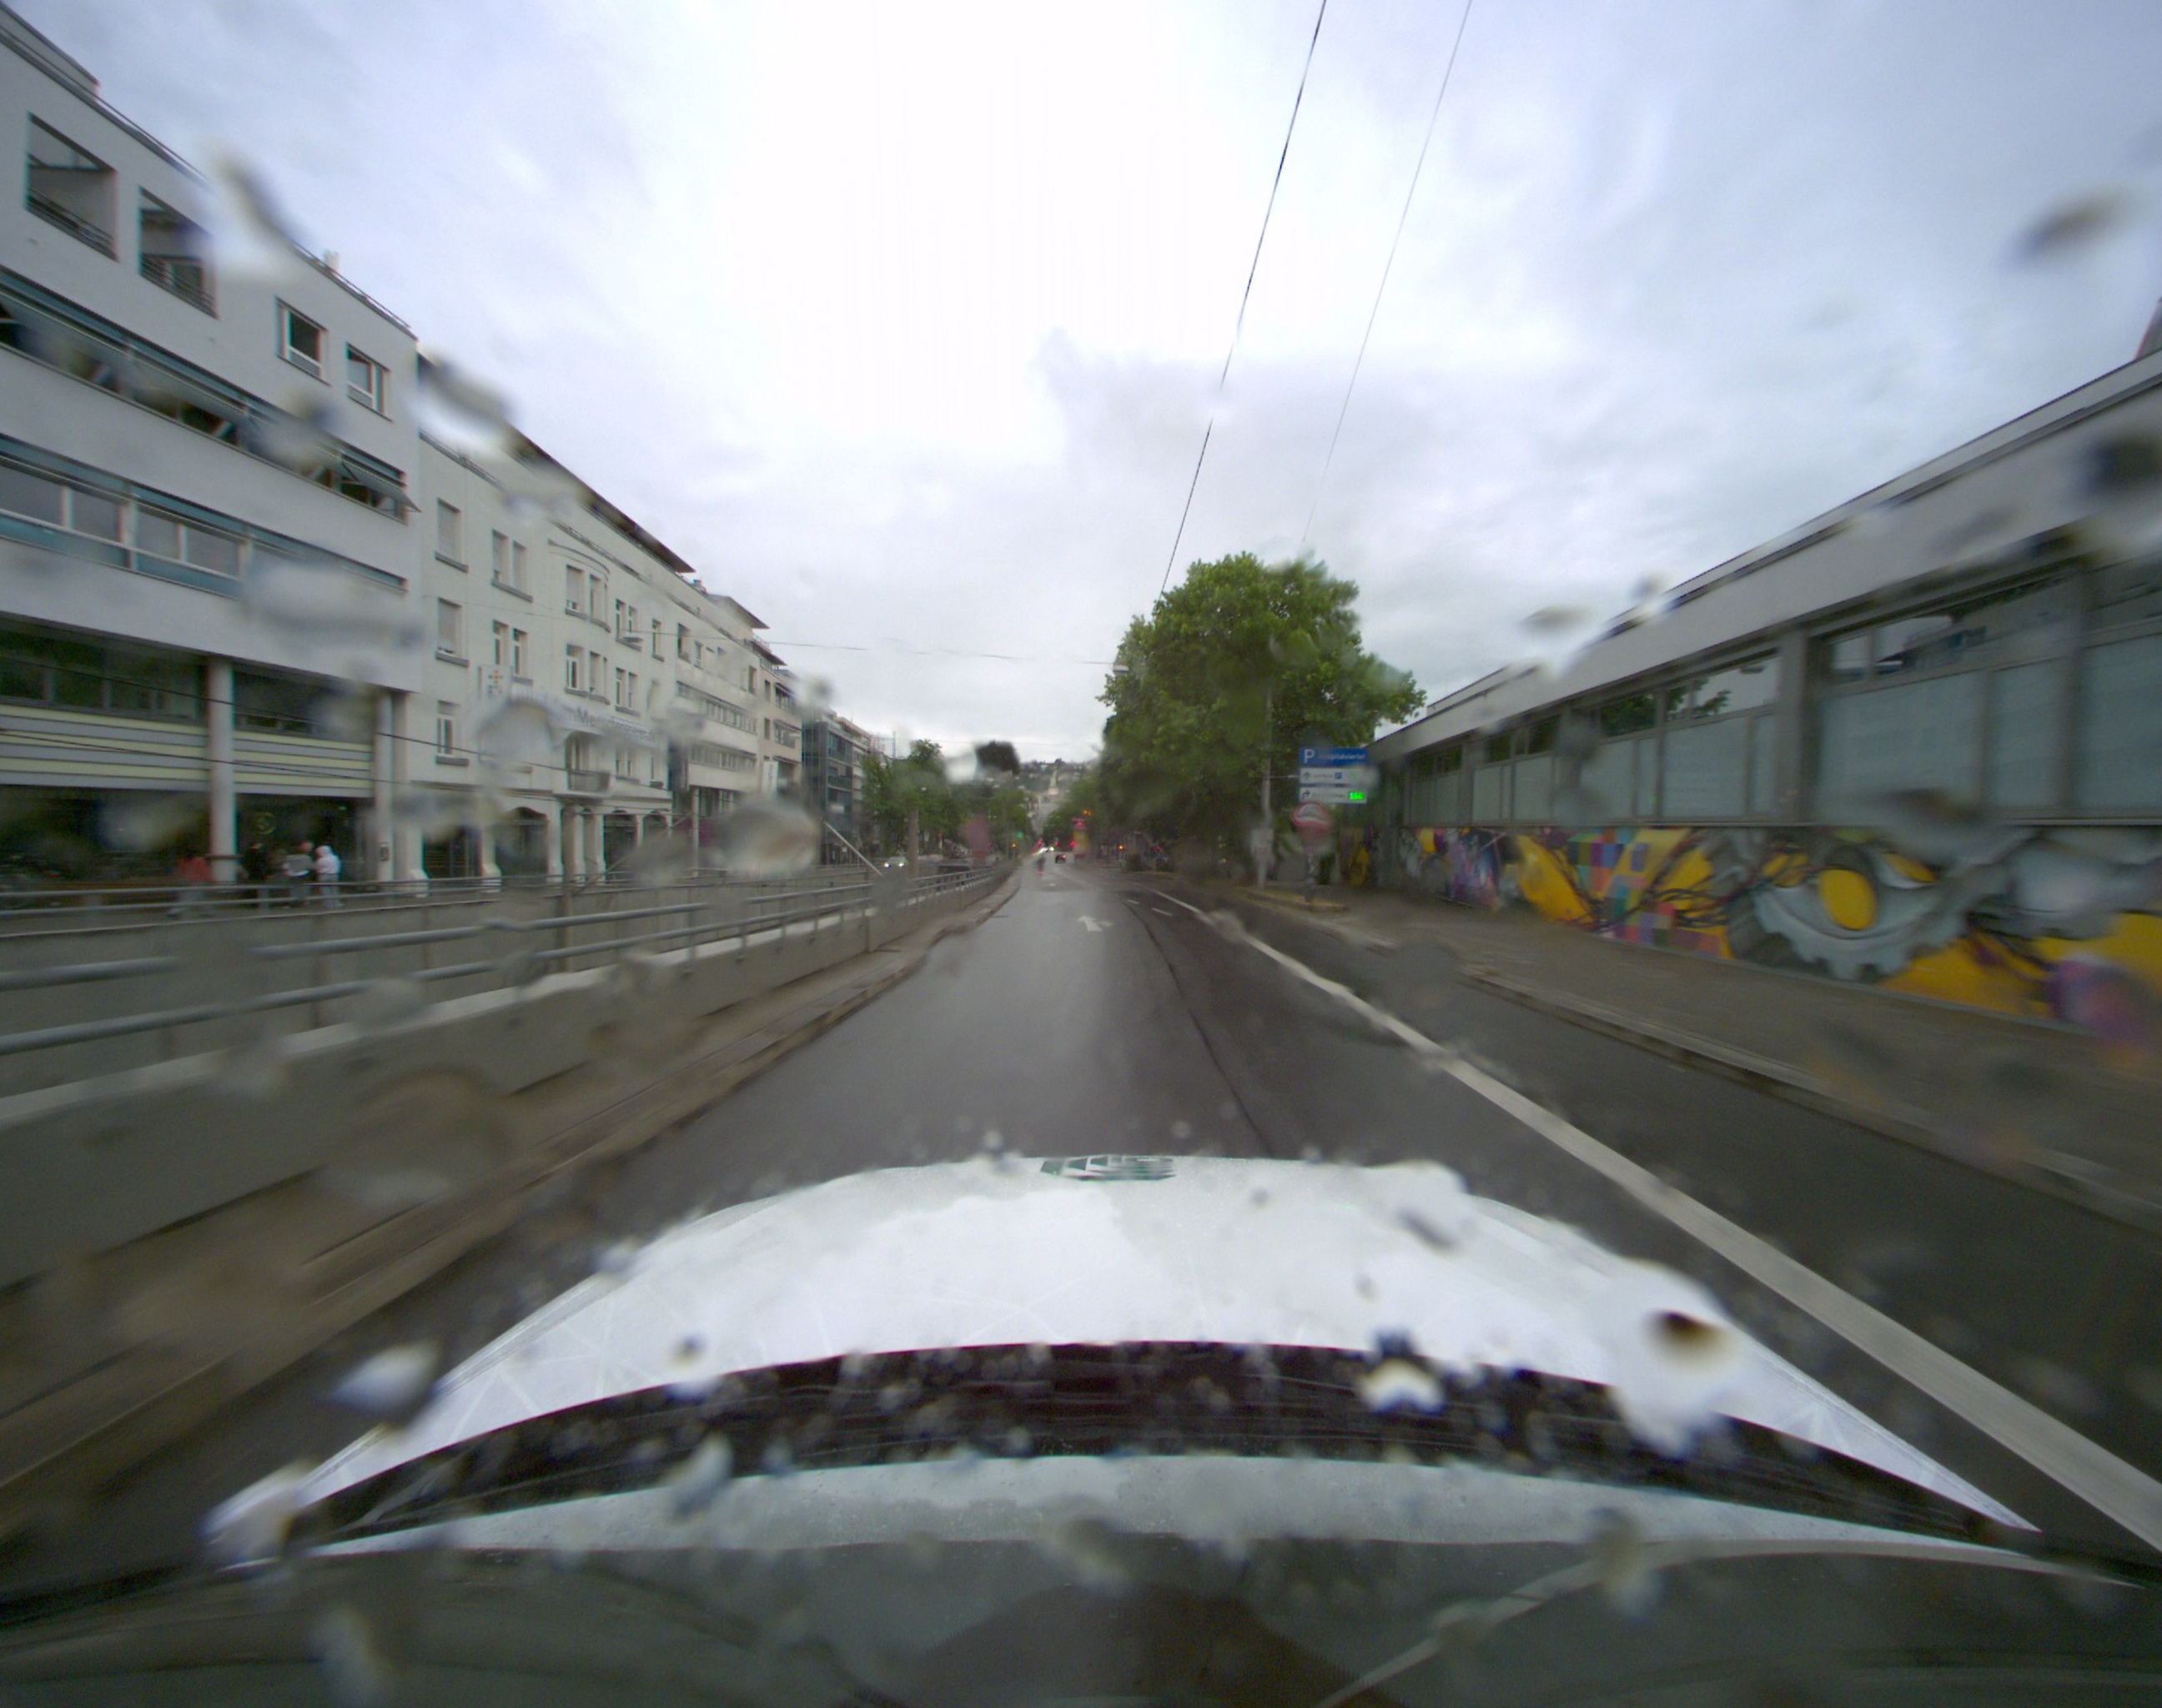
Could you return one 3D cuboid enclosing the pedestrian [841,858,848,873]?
[{"bbox_3d":[-27.418,1.354,94.473,0.663,1.671,0.487,0,0,-5],"label":"pedestrian"}]

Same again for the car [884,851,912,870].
[{"bbox_3d":[-17.654,0.601,78.896,1.832,1.713,4.573,0,0,-2],"label":"car"}]

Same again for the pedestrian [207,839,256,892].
[{"bbox_3d":[-23.360,0.314,22.408,0.605,1.419,0.674,1,0,0],"label":"pedestrian"}]

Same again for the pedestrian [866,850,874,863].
[{"bbox_3d":[-29.475,0.363,113.944,0.876,1.868,0.865,2,0,-7],"label":"pedestrian"}]

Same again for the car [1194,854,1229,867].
[{"bbox_3d":[17.194,0.896,107.413,4.369,1.684,1.735,1,0,-29],"label":"car"}]

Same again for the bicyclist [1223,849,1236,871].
[{"bbox_3d":[10.938,0.435,59.918,0.803,1.628,1.047,0,-1,3],"label":"bicyclist"}]

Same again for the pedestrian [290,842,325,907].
[{"bbox_3d":[-21.207,0.547,22.331,0.677,1.722,0.602,1,0,-44],"label":"pedestrian"}]

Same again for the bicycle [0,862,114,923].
[{"bbox_3d":[-22.521,0.793,15.936,1.687,1.043,4.522,5,0,0],"label":"bicycle"}]

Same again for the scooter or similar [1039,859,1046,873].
[{"bbox_3d":[-4.007,1.274,84.437,0.545,1.418,1.951,1,0,-5],"label":"scooter or similar"}]

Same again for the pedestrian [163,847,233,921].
[{"bbox_3d":[-19.766,0.650,18.252,0.673,1.616,0.936,1,0,-19],"label":"pedestrian"}]

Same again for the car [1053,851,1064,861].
[{"bbox_3d":[-3.769,0.329,136.058,1.743,1.519,4.100,1,0,-4],"label":"car"}]

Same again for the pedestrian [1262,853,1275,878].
[{"bbox_3d":[14.032,0.850,60.936,0.803,1.864,1.057,-1,0,5],"label":"pedestrian"}]

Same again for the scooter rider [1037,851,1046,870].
[{"bbox_3d":[-4.106,0.714,84.300,0.807,1.948,0.821,1,0,-4],"label":"scooter rider"}]

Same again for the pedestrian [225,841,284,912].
[{"bbox_3d":[-21.098,0.558,20.807,0.673,1.785,0.936,1,0,-19],"label":"pedestrian"}]

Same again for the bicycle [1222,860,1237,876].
[{"bbox_3d":[10.931,1.022,60.006,0.803,1.112,2.200,0,0,3],"label":"bicycle"}]

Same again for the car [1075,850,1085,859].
[{"bbox_3d":[-0.166,0.130,160.531,1.895,1.684,3.910,1,0,0],"label":"car"}]

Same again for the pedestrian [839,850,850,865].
[{"bbox_3d":[-28.797,0.447,99.067,0.858,1.868,0.963,1,0,14],"label":"pedestrian"}]

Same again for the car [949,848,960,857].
[{"bbox_3d":[-24.560,-0.245,158.323,1.777,1.555,3.887,1,2,-5],"label":"car"}]

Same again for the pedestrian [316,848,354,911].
[{"bbox_3d":[-20.034,0.676,21.862,0.785,1.642,0.678,1,0,42],"label":"pedestrian"}]
